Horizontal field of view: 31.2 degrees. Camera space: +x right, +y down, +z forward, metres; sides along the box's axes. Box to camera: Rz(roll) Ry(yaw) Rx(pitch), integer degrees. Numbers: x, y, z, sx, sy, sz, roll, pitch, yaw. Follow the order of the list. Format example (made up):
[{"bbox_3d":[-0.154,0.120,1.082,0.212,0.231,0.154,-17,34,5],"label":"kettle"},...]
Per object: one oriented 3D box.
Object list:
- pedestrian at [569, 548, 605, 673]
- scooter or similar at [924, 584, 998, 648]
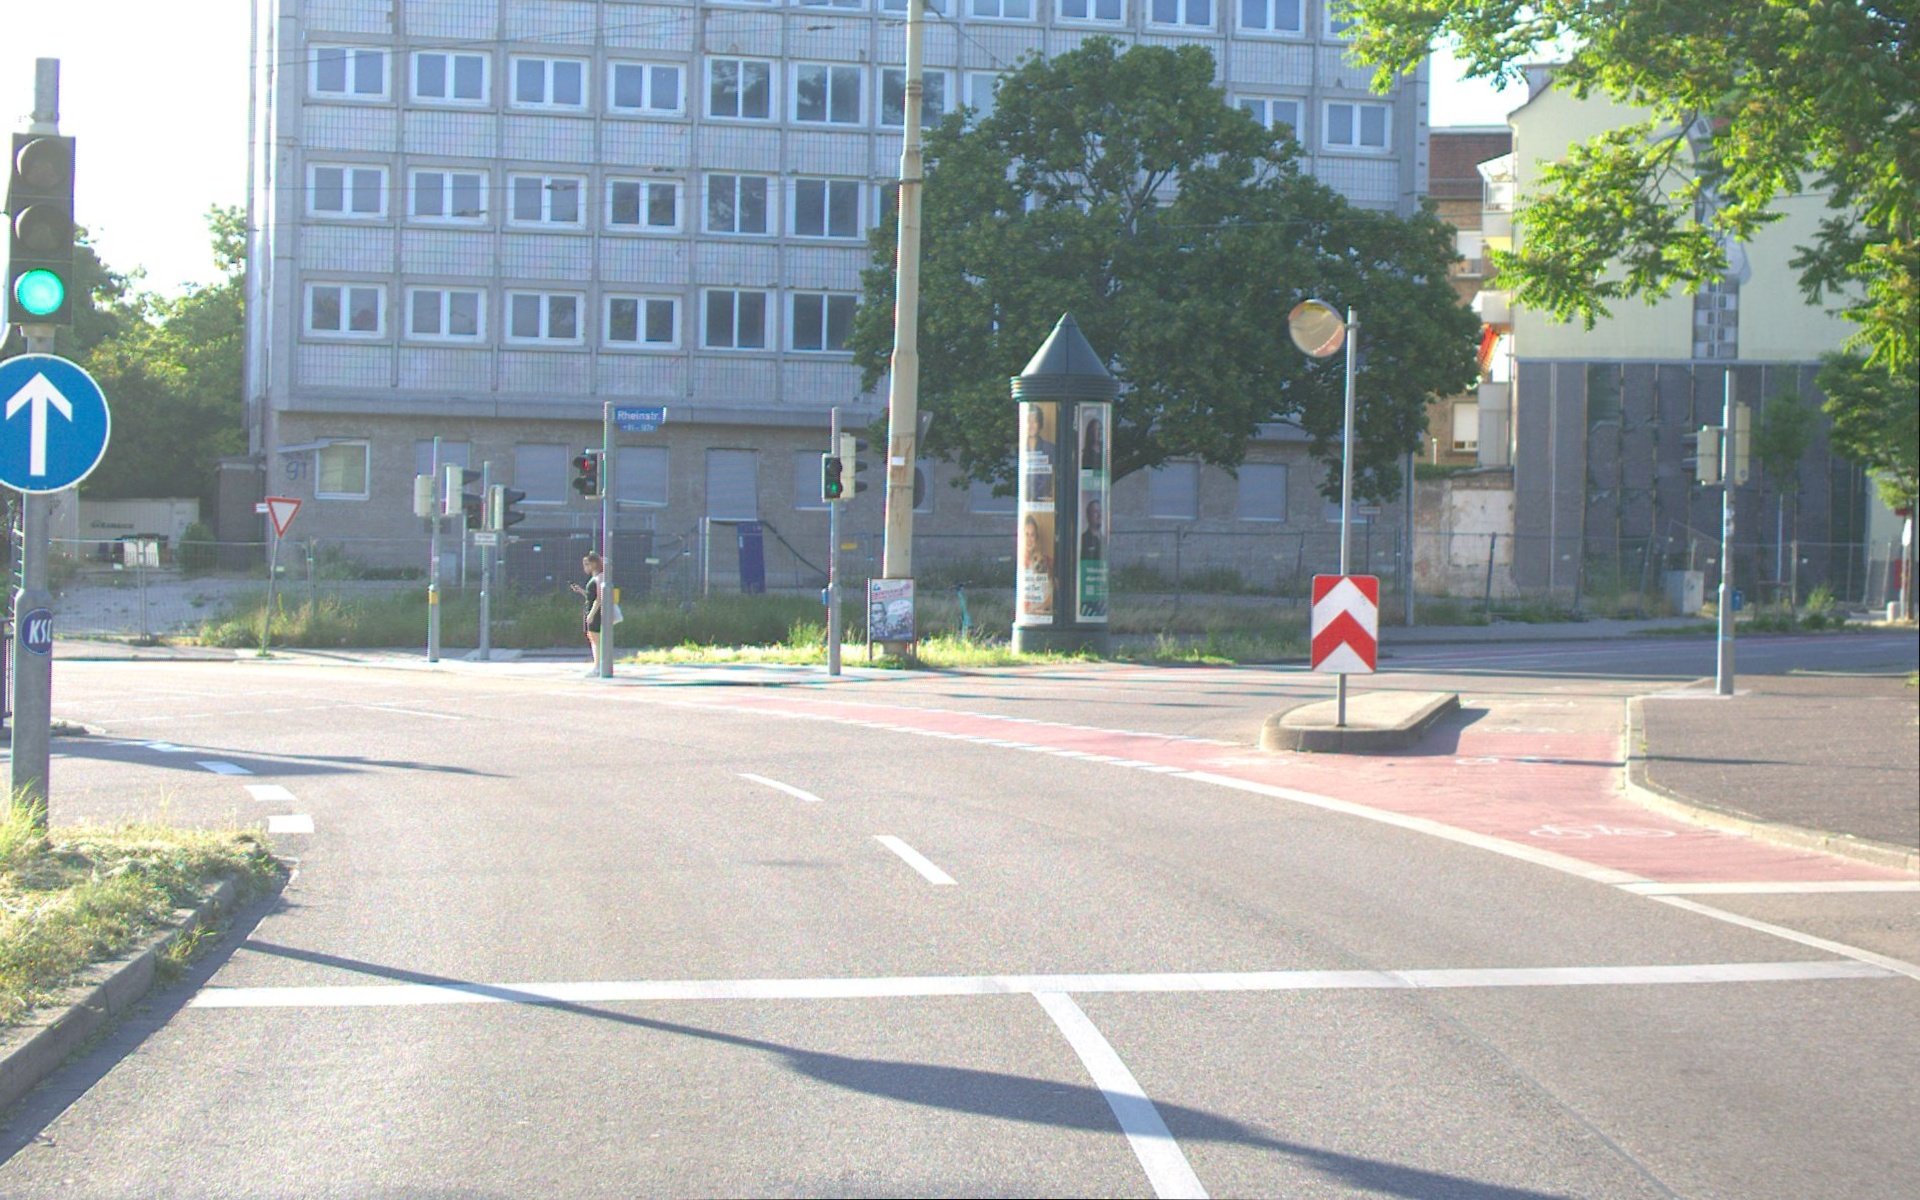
[{"bbox_3d":[-4.834,0.130,44.586,0.436,1.607,0.630,0,0,-3],"label":"pedestrian"},{"bbox_3d":[0.020,0.292,62.435,1.296,1.166,0.327,0,1,-12],"label":"scooter or similar"}]
